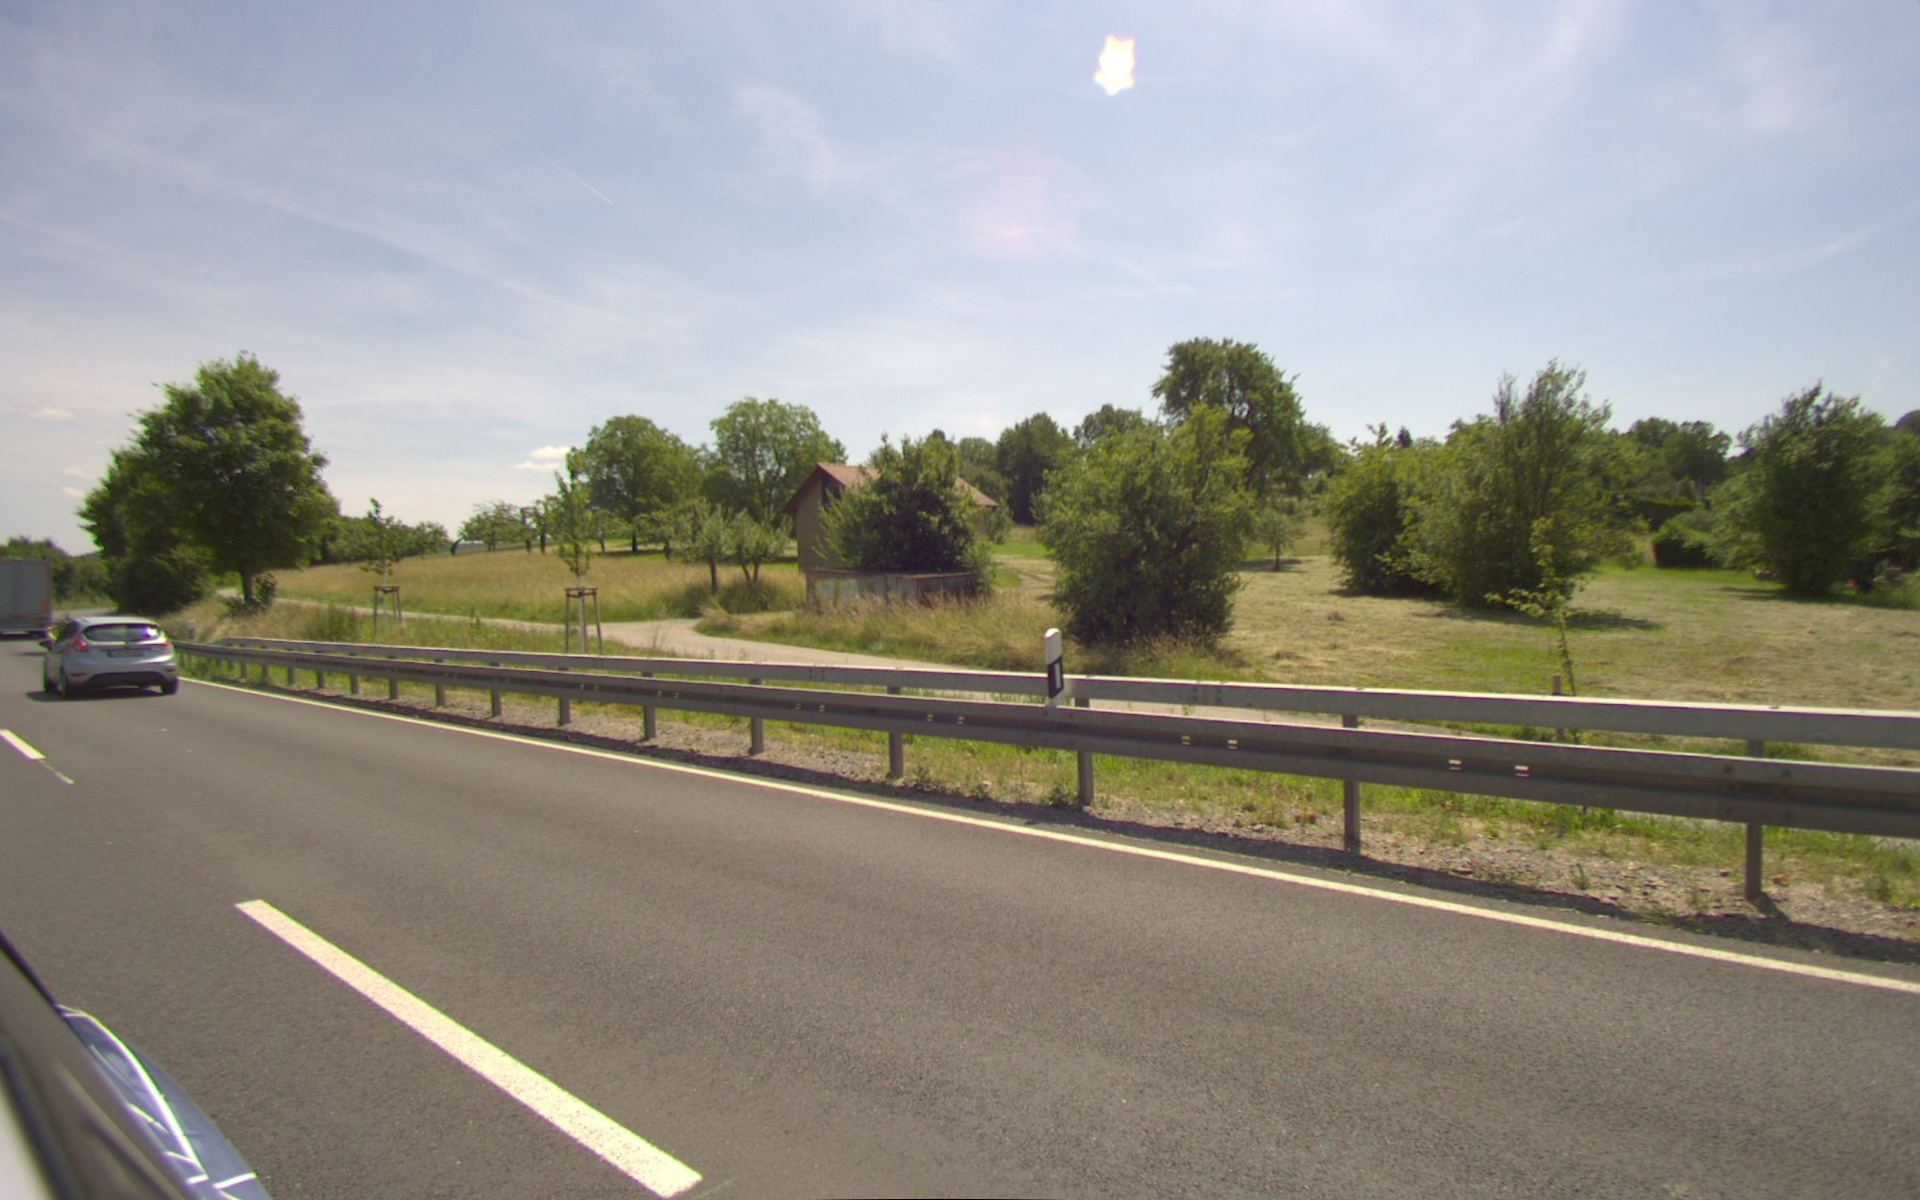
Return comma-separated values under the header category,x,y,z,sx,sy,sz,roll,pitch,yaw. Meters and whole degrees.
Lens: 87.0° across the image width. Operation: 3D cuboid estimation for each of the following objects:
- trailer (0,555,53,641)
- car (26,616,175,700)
category,x,y,z,sx,sy,sz,roll,pitch,yaw
trailer,-51.287,0.004,54.741,14.021,4.216,2.418,-1,-1,45
car,-16.584,1.057,19.465,4.157,1.452,1.629,-2,-2,42
